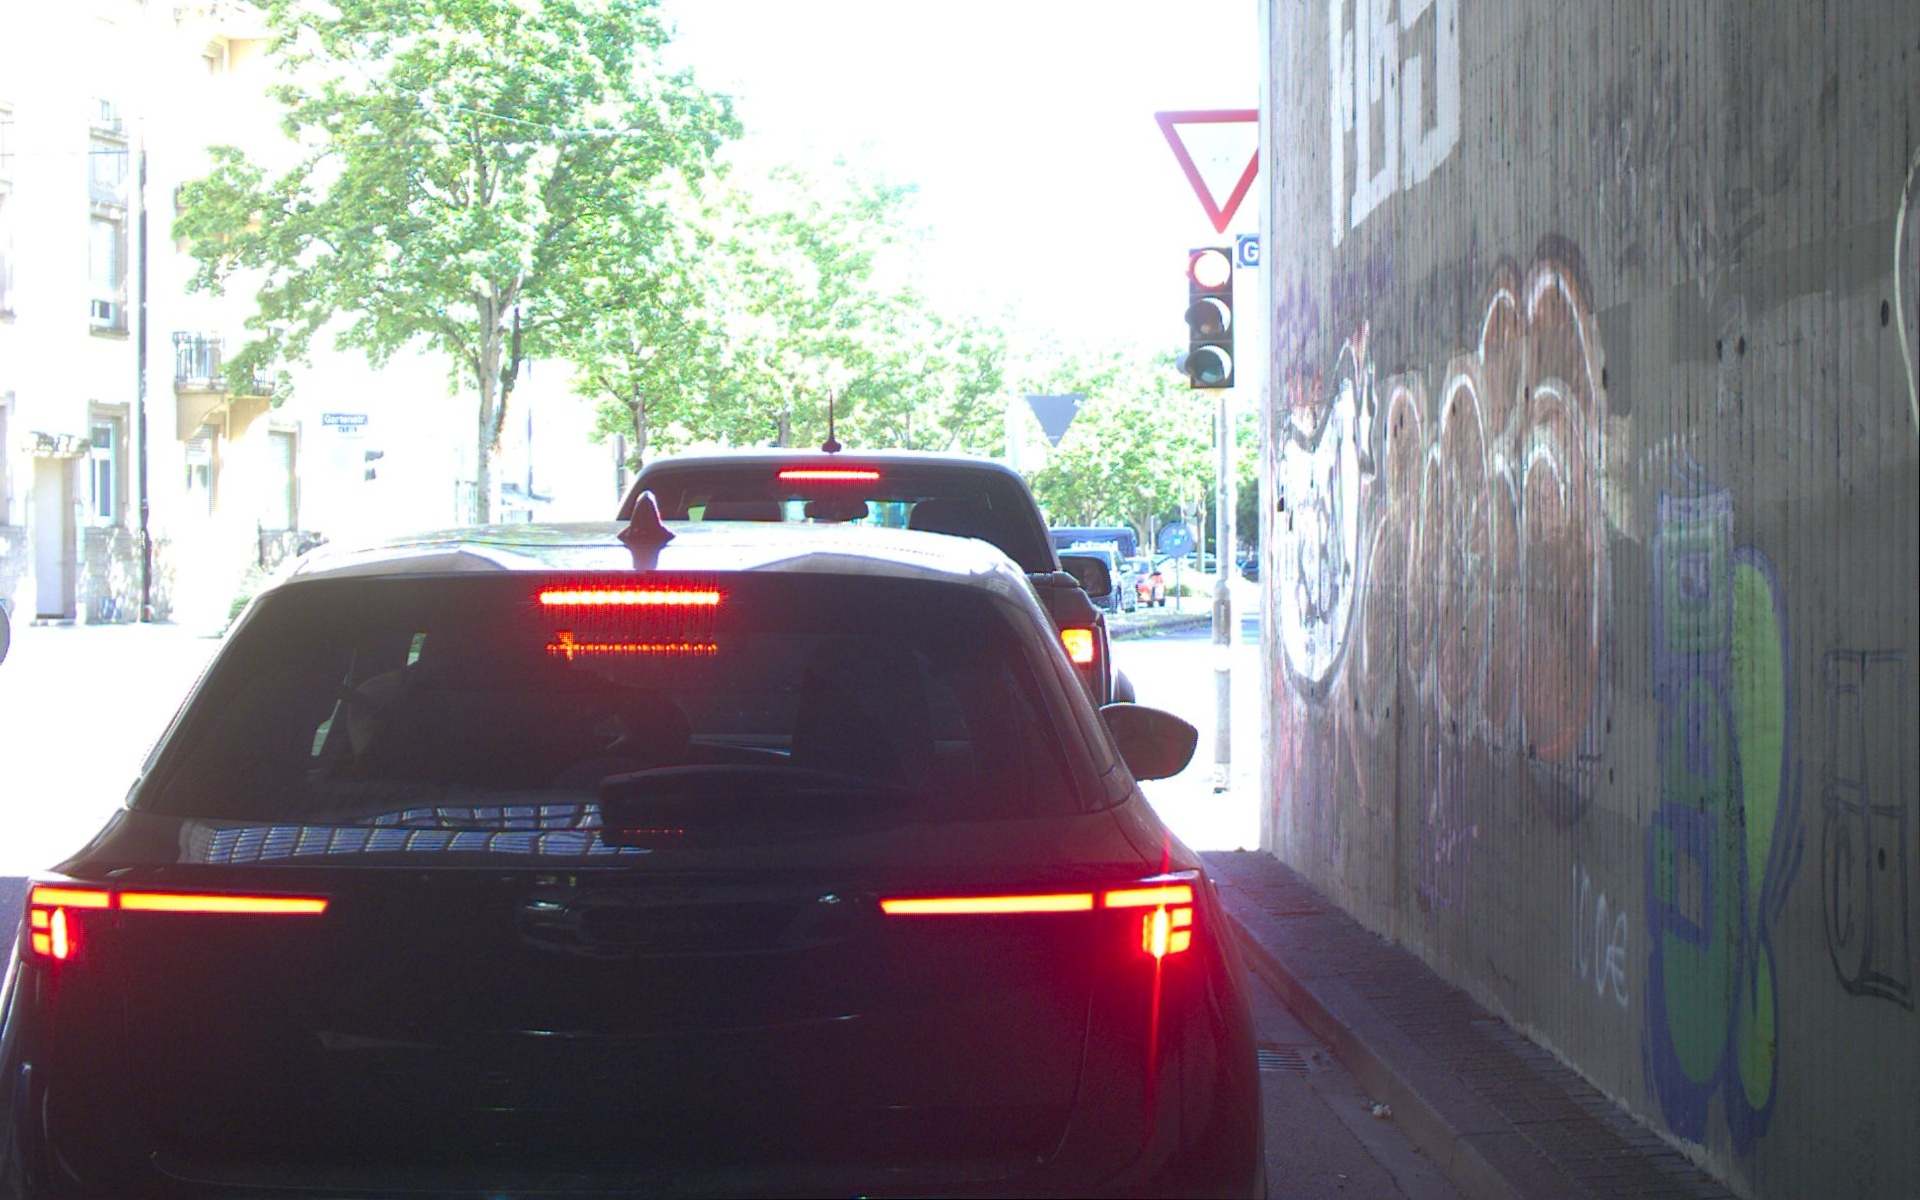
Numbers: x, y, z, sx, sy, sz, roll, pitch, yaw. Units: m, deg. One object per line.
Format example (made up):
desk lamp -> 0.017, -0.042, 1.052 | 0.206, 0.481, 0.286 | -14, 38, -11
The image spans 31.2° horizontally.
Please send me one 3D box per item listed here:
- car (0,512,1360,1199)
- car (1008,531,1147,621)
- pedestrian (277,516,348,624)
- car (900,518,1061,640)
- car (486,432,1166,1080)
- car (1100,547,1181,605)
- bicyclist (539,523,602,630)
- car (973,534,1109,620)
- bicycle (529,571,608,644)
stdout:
car -> -0.487, 0.632, 6.077 | 1.882, 1.532, 3.964 | 0, 1, -1
car -> 2.391, -0.451, 69.012 | 2.221, 1.713, 4.458 | 0, -1, 9
pedestrian -> -12.175, -0.562, 64.650 | 0.992, 2.007, 1.088 | 0, 1, 8
car -> 0.300, -0.239, 44.181 | 1.968, 1.492, 3.896 | 0, -1, 1
car -> -0.408, 0.413, 11.899 | 1.945, 1.853, 3.964 | 0, 1, -1
car -> 5.356, -0.704, 101.500 | 1.994, 1.656, 3.999 | 1, 1, 8
bicyclist -> -5.838, -0.357, 51.548 | 0.729, 1.576, 0.814 | 1, 0, 9
car -> 1.506, -0.394, 62.202 | 1.969, 1.492, 3.895 | 0, -1, 9
bicycle -> -5.856, 0.099, 51.522 | 0.732, 1.064, 1.688 | 1, 1, 9
